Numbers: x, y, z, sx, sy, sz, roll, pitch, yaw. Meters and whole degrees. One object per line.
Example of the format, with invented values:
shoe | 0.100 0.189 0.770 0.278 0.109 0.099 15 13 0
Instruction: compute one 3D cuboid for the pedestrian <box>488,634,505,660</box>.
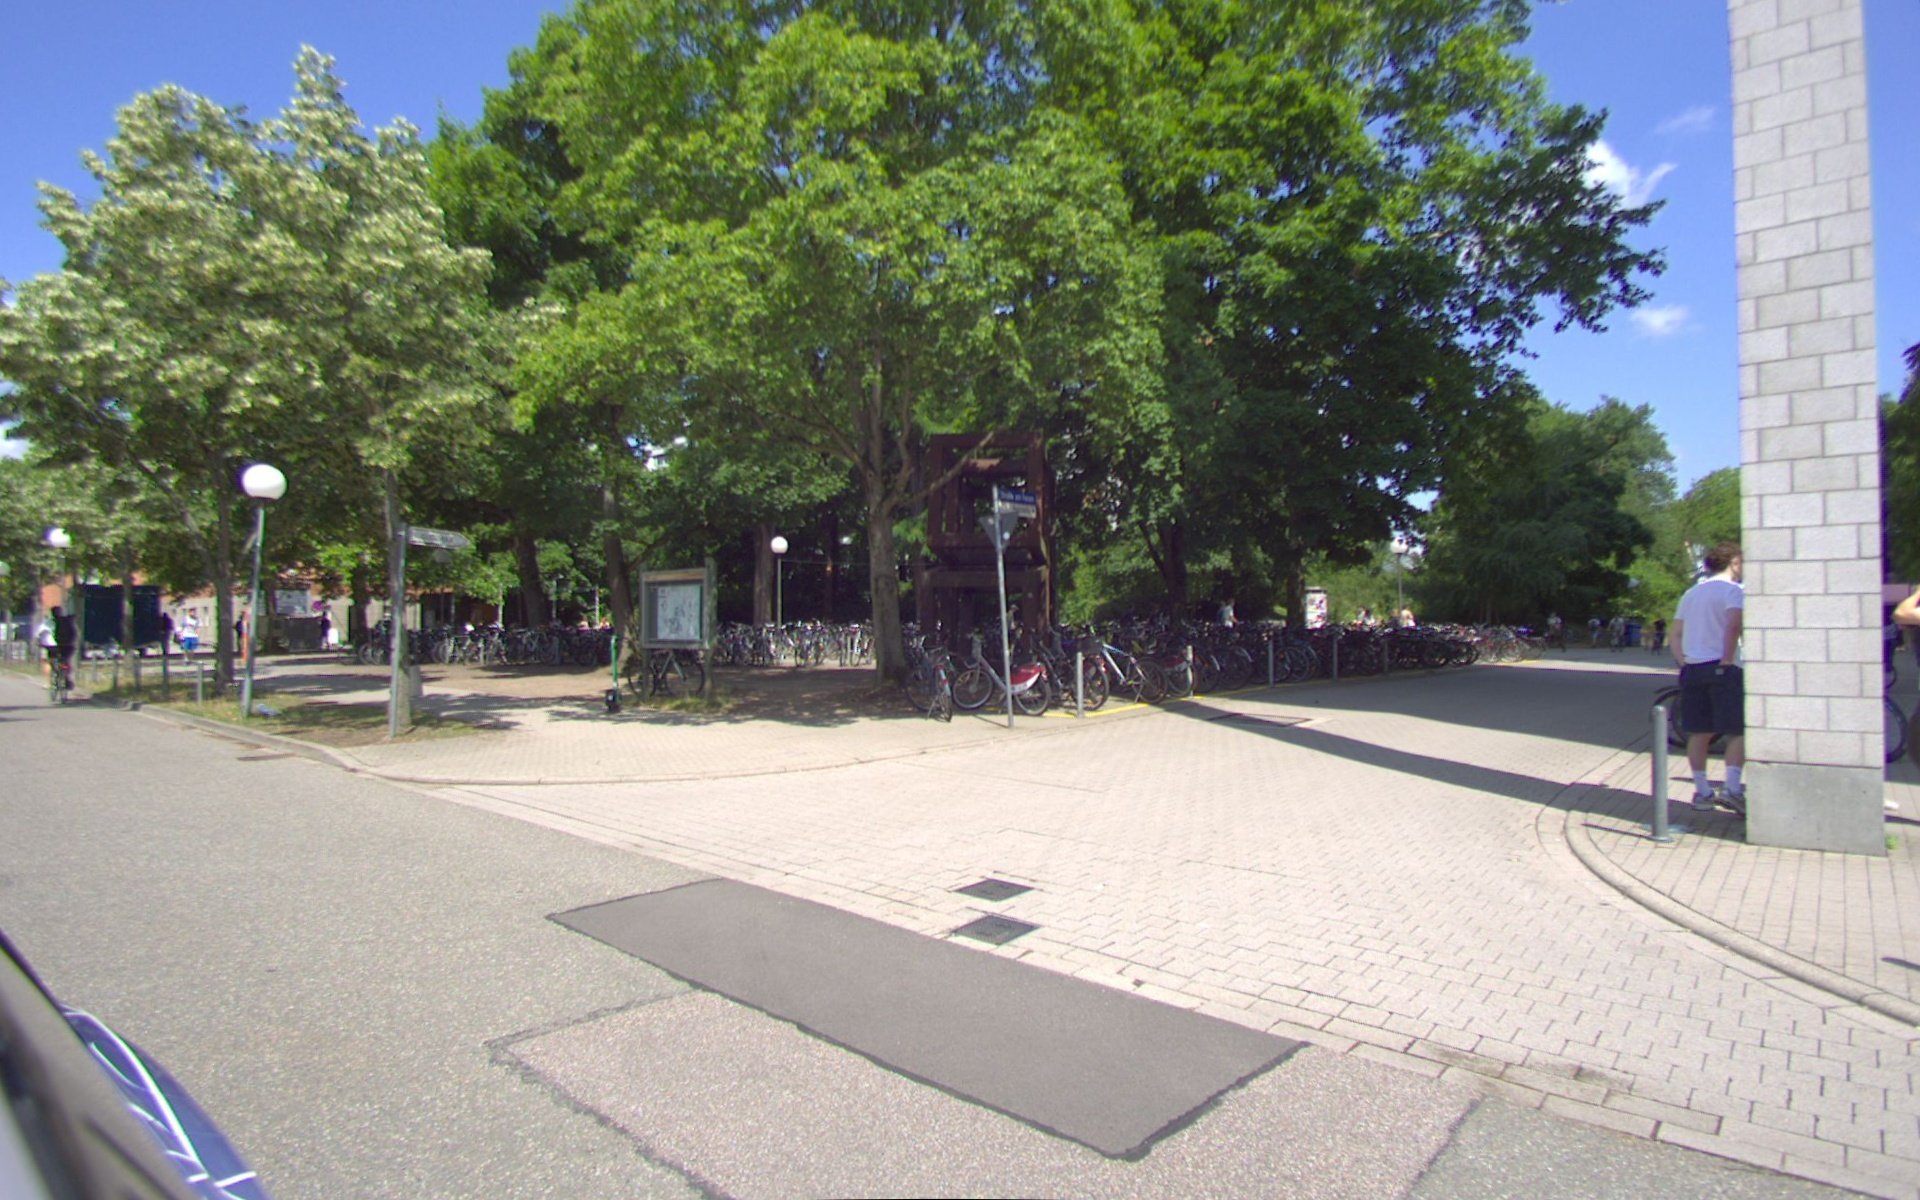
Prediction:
pedestrian | -24.459 2.466 53.365 0.559 1.333 0.638 -2 -3 43

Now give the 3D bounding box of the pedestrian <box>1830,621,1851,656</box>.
pedestrian | 41.174 1.791 47.328 0.630 1.618 0.596 -2 -2 31

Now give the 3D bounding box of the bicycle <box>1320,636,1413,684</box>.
bicycle | 9.717 1.413 24.242 1.972 1.095 0.546 -2 -1 42

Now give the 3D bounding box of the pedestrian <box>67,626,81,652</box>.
pedestrian | -59.785 2.629 68.288 0.917 1.793 0.569 -2 -2 41

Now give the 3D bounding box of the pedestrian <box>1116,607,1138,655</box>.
pedestrian | 5.997 1.104 36.432 0.721 1.683 0.631 -1 -1 7

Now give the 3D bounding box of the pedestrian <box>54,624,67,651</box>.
pedestrian | -60.270 2.490 67.797 0.805 1.775 0.557 -2 -2 41

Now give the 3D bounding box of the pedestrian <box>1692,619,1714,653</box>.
pedestrian | 31.118 1.492 42.395 0.475 1.414 0.548 0 -2 -27

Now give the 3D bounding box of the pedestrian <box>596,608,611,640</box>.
pedestrian | -17.237 1.140 48.887 0.472 1.534 0.501 -2 -2 31

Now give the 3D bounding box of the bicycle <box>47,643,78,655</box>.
bicycle | -78.790 4.312 88.870 0.541 1.038 1.930 -2 -2 40

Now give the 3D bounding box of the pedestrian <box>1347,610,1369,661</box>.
pedestrian | 15.987 1.410 40.609 0.525 2.029 0.577 0 -2 -34

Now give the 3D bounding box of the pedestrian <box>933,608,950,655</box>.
pedestrian | -0.688 1.161 37.786 0.539 1.727 0.411 -1 -1 11

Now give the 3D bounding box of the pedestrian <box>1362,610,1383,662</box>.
pedestrian | 16.333 1.406 40.065 0.525 2.029 0.521 0 -2 -34

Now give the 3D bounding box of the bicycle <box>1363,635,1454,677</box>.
bicycle | 11.732 1.449 26.528 2.128 1.076 0.492 -2 -2 41

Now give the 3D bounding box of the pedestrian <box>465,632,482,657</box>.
pedestrian | -25.249 2.305 52.510 0.693 1.281 0.554 -2 -2 42

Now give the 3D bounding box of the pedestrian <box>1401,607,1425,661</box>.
pedestrian | 17.247 1.285 38.560 0.525 2.029 0.594 0 -2 -33

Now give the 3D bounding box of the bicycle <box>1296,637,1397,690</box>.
bicycle | 8.387 1.354 22.022 1.972 1.095 0.546 -2 -1 42

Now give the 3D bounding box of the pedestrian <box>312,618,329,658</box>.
pedestrian | -30.327 1.785 47.991 0.805 1.862 0.524 -2 -2 42

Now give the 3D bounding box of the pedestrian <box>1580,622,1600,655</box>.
pedestrian | 31.104 1.910 49.940 0.759 1.608 0.389 -2 -2 41

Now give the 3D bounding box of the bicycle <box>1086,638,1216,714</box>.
bicycle | 2.943 1.148 15.741 1.972 1.095 0.546 -2 -1 42

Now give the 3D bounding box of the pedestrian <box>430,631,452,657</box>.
pedestrian | -25.356 2.161 49.462 0.734 1.243 0.594 -3 -2 7

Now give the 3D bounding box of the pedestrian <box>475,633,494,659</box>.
pedestrian | -25.314 2.453 53.909 0.778 1.333 0.680 -2 -3 43

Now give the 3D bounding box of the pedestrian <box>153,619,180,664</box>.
pedestrian | -36.351 1.884 46.376 0.906 1.969 0.894 -2 0 -39

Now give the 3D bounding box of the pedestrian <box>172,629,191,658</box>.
pedestrian | -41.442 2.292 53.861 0.499 1.521 0.735 -2 -2 42

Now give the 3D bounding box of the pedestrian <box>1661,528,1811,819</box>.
pedestrian | 5.401 0.500 7.071 0.656 1.956 0.412 -1 -1 13

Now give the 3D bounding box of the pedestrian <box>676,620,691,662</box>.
pedestrian | -10.846 1.592 39.676 0.348 1.626 0.458 -1 -1 19

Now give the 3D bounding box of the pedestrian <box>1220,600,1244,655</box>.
pedestrian | 9.777 0.975 36.417 0.688 1.948 0.646 -1 -1 7

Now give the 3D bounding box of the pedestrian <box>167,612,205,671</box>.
pedestrian | -24.741 1.319 32.351 0.986 1.844 0.791 -3 -2 42

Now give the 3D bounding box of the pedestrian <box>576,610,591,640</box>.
pedestrian | -17.852 1.185 47.958 0.459 1.433 0.501 -2 -2 32

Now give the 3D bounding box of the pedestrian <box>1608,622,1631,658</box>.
pedestrian | 30.190 1.834 46.318 0.780 1.628 0.716 0 -1 45

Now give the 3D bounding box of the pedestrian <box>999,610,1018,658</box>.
pedestrian | 1.727 1.206 35.865 0.623 1.683 0.576 -1 -1 7

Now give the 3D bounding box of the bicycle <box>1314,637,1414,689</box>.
bicycle | 8.923 1.371 22.419 1.972 1.095 0.546 -2 -1 42

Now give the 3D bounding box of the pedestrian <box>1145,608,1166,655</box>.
pedestrian | 7.179 1.146 37.149 0.695 1.683 0.555 -1 -1 7

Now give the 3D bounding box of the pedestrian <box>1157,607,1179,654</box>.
pedestrian | 7.504 1.097 36.467 0.685 1.683 0.555 -1 -1 7

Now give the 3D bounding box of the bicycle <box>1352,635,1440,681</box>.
bicycle | 11.128 1.467 25.883 1.972 1.095 0.546 -2 -1 42

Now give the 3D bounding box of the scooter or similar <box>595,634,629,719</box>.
scooter or similar | -5.209 1.117 15.177 0.334 1.184 1.332 -1 -1 -13

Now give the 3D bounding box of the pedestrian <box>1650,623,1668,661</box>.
pedestrian | 30.375 1.818 43.970 0.580 1.618 0.496 1 -2 -44

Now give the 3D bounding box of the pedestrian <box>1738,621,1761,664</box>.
pedestrian | 34.279 1.831 43.928 0.699 1.855 0.566 -2 -2 44

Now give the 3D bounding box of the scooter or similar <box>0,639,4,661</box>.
scooter or similar | -52.215 2.704 54.709 0.556 1.158 1.353 1 -2 -36

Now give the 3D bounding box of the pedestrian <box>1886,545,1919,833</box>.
pedestrian | 6.307 0.547 6.143 0.729 1.789 0.635 -1 -2 9

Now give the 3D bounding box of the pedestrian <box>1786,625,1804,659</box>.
pedestrian | 39.483 1.973 47.826 0.602 1.618 0.624 -2 -2 41

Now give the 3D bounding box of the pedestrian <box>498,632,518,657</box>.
pedestrian | -22.665 2.228 50.736 0.764 1.260 0.564 -2 -2 30

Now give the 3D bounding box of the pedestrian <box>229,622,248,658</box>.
pedestrian | -34.262 1.911 48.034 0.643 1.678 0.623 -2 -2 43

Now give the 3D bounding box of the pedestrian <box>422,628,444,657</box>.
pedestrian | -26.061 2.084 50.018 0.734 1.380 0.594 -3 -2 7

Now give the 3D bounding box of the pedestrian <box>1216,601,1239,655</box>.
pedestrian | 9.807 1.010 37.116 0.674 1.948 0.621 -1 -1 7

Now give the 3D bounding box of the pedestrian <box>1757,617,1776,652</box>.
pedestrian | 39.572 1.686 49.640 0.591 1.680 0.526 0 -2 -32

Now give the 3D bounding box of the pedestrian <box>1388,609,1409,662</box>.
pedestrian | 16.967 1.355 39.163 0.525 2.029 0.521 0 -2 -34

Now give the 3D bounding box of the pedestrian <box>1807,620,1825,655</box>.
pedestrian | 40.038 1.747 47.316 0.602 1.618 0.624 -2 -2 41

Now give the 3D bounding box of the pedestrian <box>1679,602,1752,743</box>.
pedestrian | 7.708 0.741 10.337 0.442 1.394 0.462 -5 -5 32

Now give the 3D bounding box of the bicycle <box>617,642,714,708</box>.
bicycle | -4.852 1.205 16.611 1.807 1.033 0.379 -1 -2 30

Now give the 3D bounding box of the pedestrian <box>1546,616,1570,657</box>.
pedestrian | 25.376 1.550 42.938 0.621 1.708 0.604 0 -2 -22

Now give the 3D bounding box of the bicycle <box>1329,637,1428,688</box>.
bicycle | 9.428 1.388 22.836 1.972 1.095 0.546 -2 -1 42
